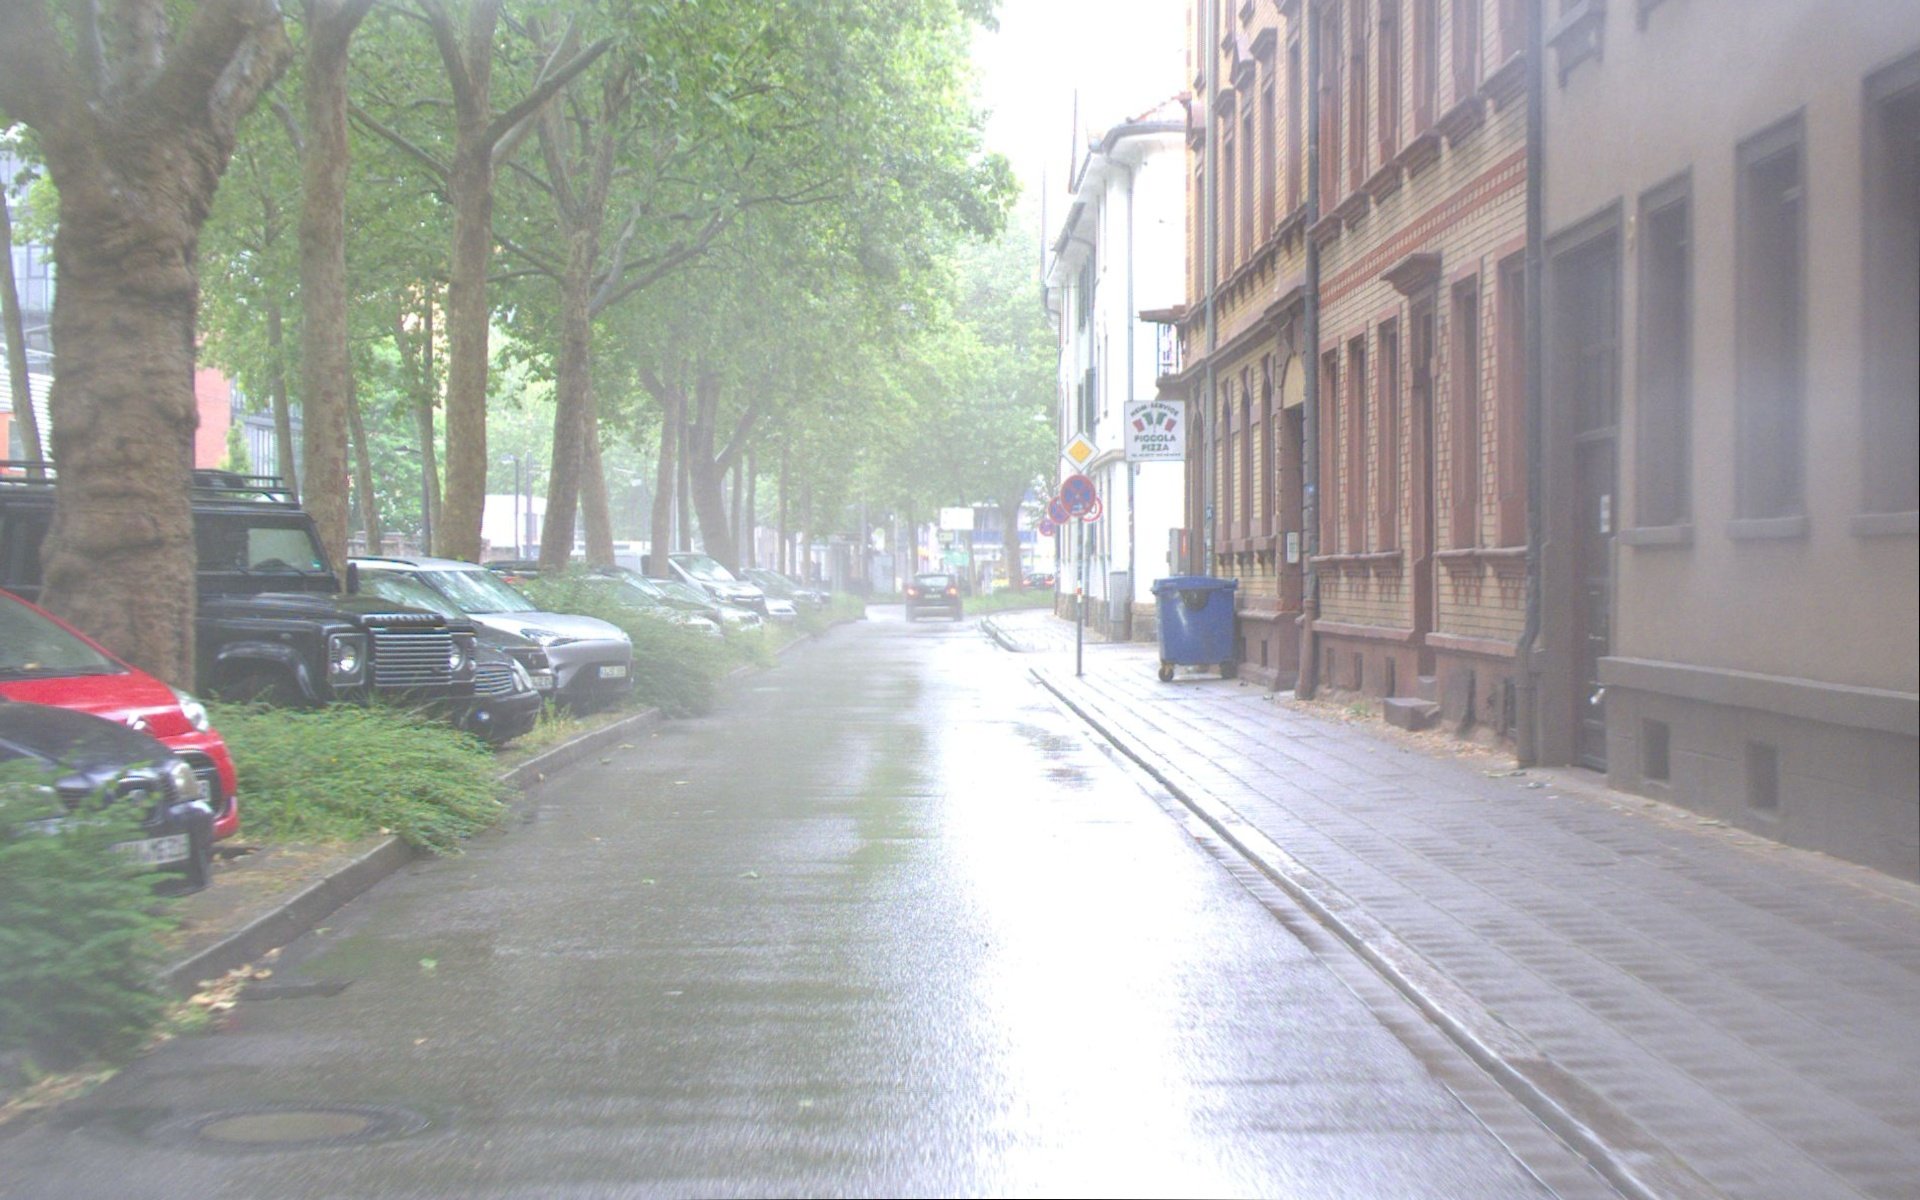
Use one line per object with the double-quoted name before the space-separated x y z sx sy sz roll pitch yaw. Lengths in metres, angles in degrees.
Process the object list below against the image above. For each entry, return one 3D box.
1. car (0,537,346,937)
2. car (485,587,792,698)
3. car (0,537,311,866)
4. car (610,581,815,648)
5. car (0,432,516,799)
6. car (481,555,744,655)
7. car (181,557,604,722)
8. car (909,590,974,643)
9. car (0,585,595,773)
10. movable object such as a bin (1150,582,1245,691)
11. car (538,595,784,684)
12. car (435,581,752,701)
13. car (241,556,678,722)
"car" -4.696 0.492 13.943 4.038 1.430 1.779 0 0 25
"car" -5.004 0.639 53.485 4.410 1.654 1.927 0 1 27
"car" -5.084 0.442 16.519 3.497 1.431 1.779 0 0 27
"car" -5.801 0.349 80.412 4.553 1.477 1.772 -1 0 30
"car" -5.478 0.096 23.439 4.653 2.275 2.008 0 0 33
"car" -7.217 0.106 71.223 5.123 1.971 2.099 -1 0 30
"car" -5.245 0.356 31.816 3.503 1.463 1.641 0 0 21
"car" -0.607 0.528 109.811 1.993 1.634 4.000 1 0 -1
"car" -5.255 0.567 26.237 4.652 1.321 1.844 0 0 27
"movable object such as a bin" 3.022 0.452 43.912 1.021 1.297 1.367 -3 1 -1
"car" -5.367 0.689 61.764 4.061 1.494 1.745 1 1 23
"car" -5.461 0.615 51.097 4.411 1.640 1.869 -2 0 31
"car" -5.028 0.348 34.446 4.059 1.532 1.832 1 1 30
